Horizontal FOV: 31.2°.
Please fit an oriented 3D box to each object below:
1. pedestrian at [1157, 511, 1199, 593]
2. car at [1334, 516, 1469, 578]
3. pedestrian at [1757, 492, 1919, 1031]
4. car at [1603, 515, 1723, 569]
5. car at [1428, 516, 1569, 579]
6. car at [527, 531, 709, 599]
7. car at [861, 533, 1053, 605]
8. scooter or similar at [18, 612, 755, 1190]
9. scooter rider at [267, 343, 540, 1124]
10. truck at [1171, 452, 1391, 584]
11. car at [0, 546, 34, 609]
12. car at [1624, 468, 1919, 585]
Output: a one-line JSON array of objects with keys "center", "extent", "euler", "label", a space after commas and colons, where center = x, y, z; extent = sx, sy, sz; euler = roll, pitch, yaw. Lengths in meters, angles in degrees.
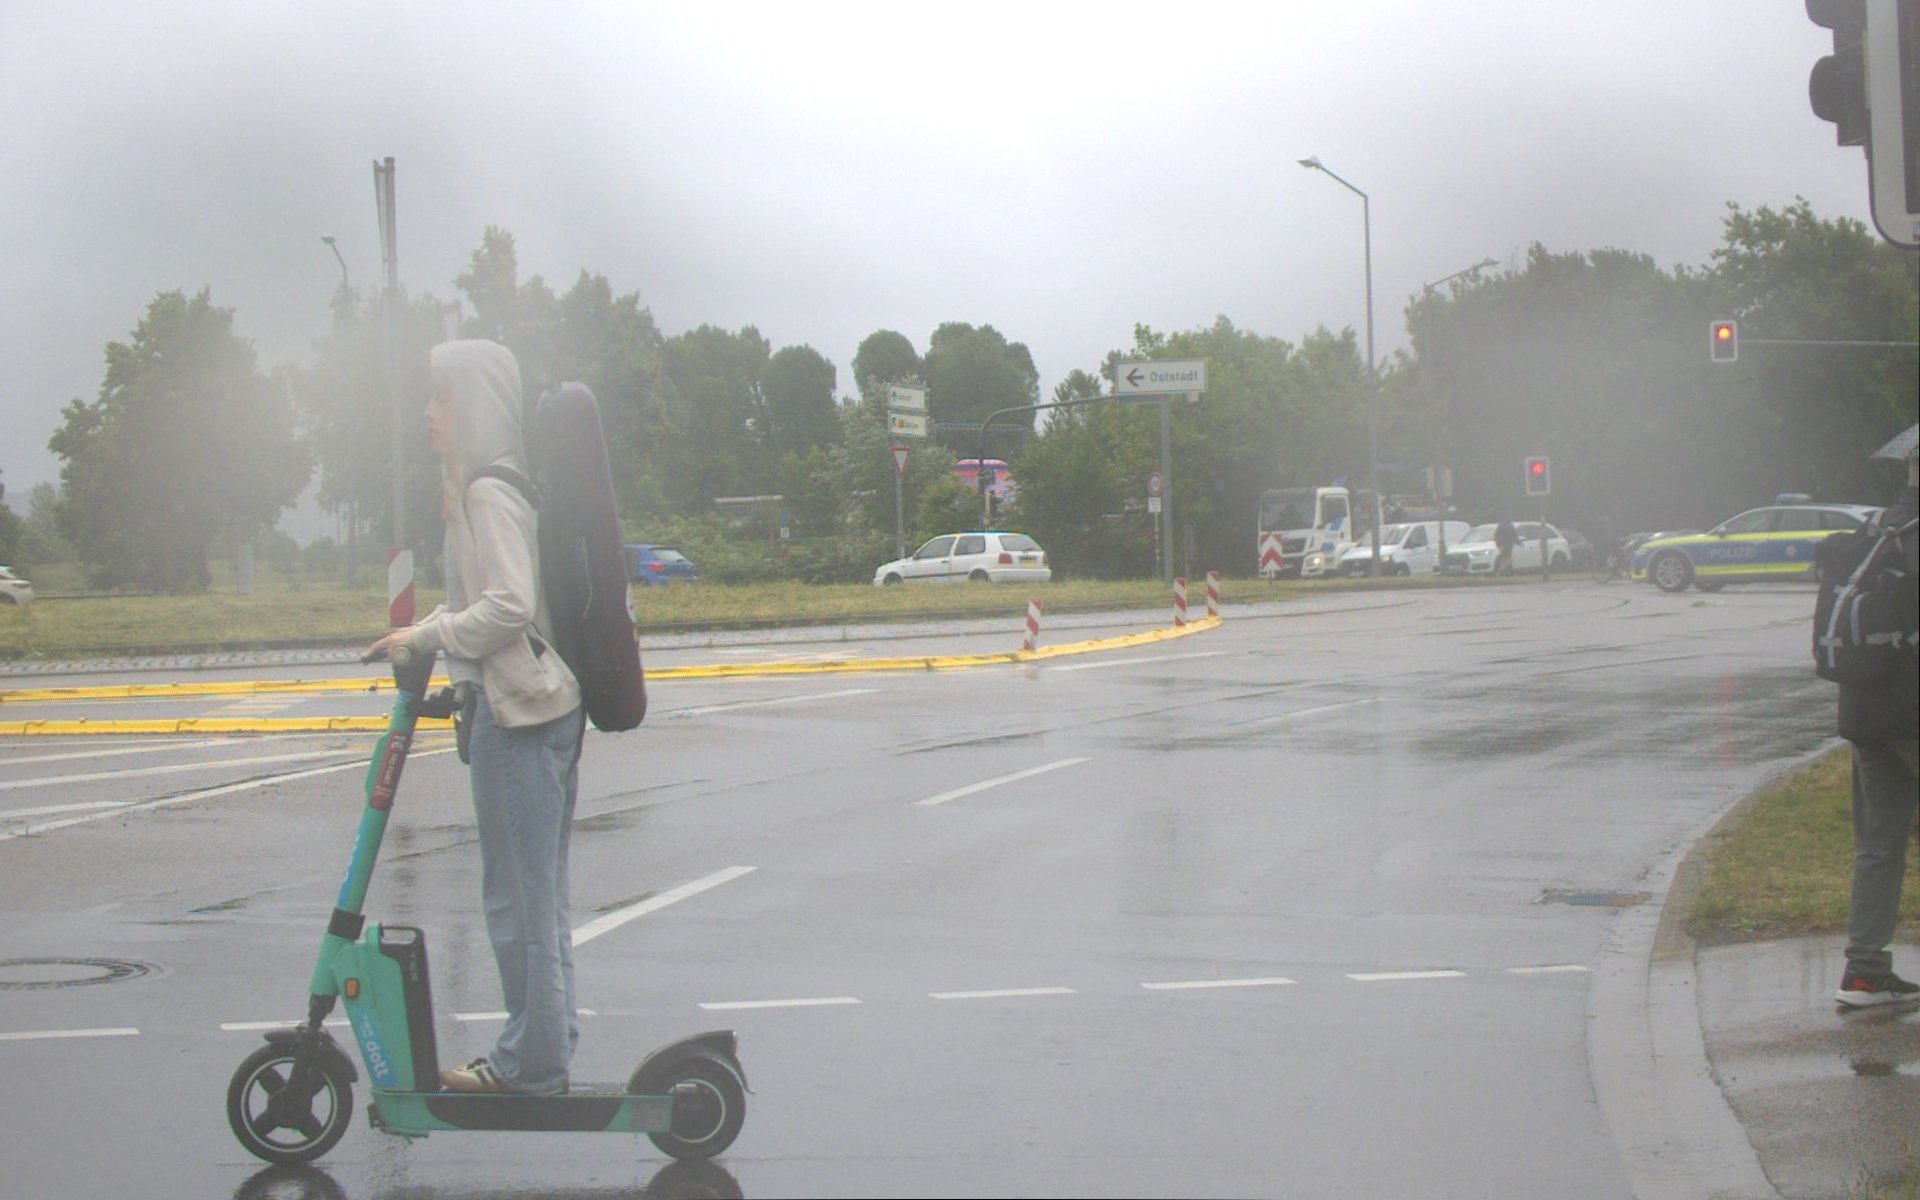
[{"center": [3.513, -0.772, 55.416], "extent": [0.453, 1.300, 0.485], "euler": [0, 1, 39], "label": "pedestrian"}, {"center": [12.520, -1.491, 97.279], "extent": [1.800, 1.656, 4.124], "euler": [1, 0, 41], "label": "car"}, {"center": [2.742, 0.450, 10.040], "extent": [0.621, 1.517, 0.741], "euler": [1, 1, -2], "label": "pedestrian"}, {"center": [22.492, -1.859, 109.916], "extent": [1.800, 1.656, 4.399], "euler": [0, 1, 41], "label": "car"}, {"center": [15.001, -1.446, 95.599], "extent": [1.800, 1.656, 4.399], "euler": [1, 0, 41], "label": "car"}, {"center": [-7.696, -0.773, 77.180], "extent": [3.983, 1.449, 1.620], "euler": [0, 1, 36], "label": "car"}, {"center": [-0.082, -0.652, 72.322], "extent": [3.984, 1.449, 1.619], "euler": [0, 1, 42], "label": "car"}, {"center": [-1.277, 0.669, 7.791], "extent": [1.585, 1.255, 0.447], "euler": [1, 0, -6], "label": "scooter or similar"}, {"center": [-1.251, 0.289, 7.795], "extent": [0.531, 1.703, 0.434], "euler": [-2, 1, -6], "label": "scooter rider"}, {"center": [7.121, -1.730, 75.179], "extent": [2.464, 2.677, 8.049], "euler": [1, 0, 23], "label": "truck"}, {"center": [-23.628, -0.488, 79.734], "extent": [4.098, 1.449, 1.624], "euler": [-1, 1, -14], "label": "car"}, {"center": [13.785, -1.217, 57.649], "extent": [4.769, 1.845, 1.996], "euler": [0, 1, 32], "label": "car"}]
